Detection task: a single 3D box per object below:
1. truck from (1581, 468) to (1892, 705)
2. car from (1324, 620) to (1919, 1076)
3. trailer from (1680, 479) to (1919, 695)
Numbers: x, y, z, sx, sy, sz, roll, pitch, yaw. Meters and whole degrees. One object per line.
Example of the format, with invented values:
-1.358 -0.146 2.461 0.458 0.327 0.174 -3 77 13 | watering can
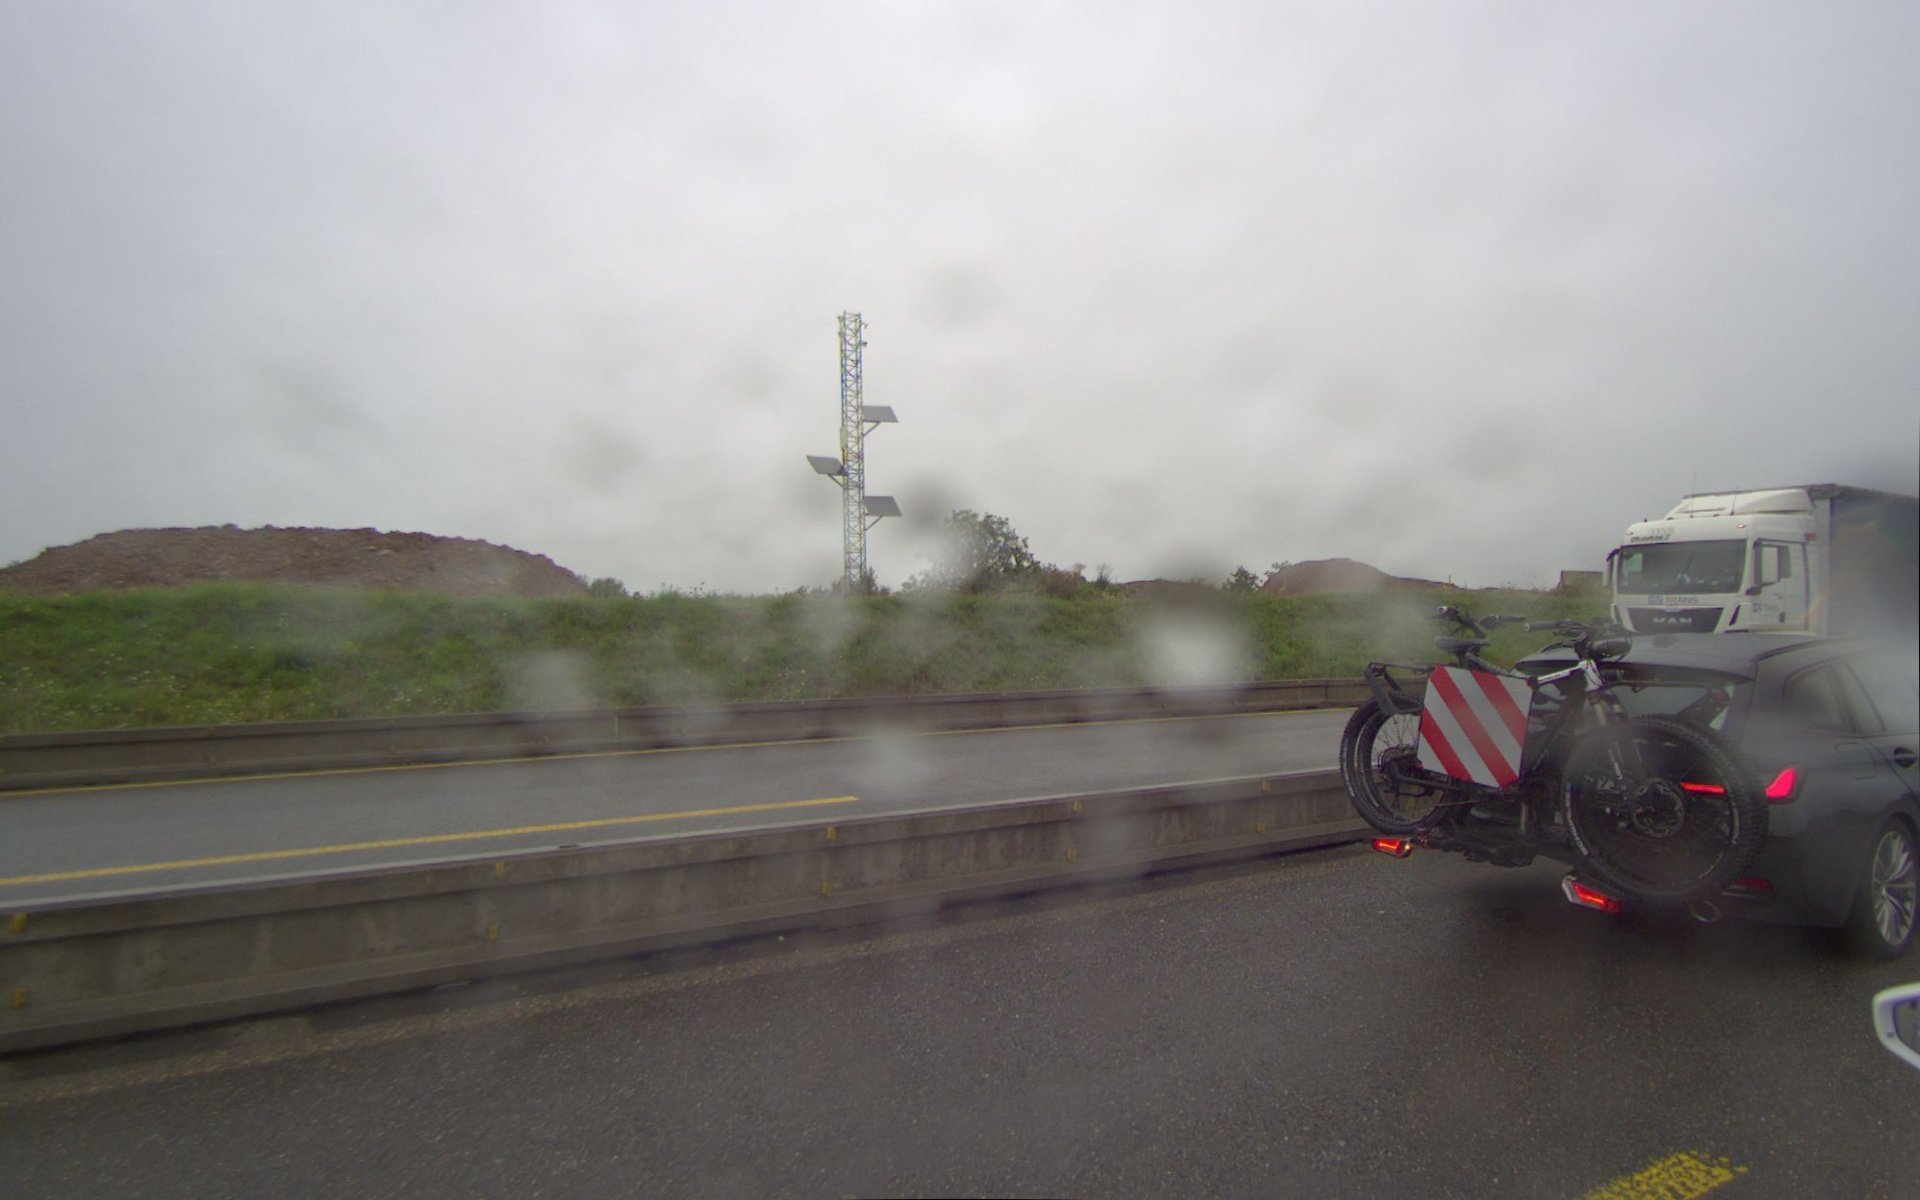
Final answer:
15.403 -0.233 19.902 5.746 4.089 2.777 0 0 -28 | truck
4.680 0.923 5.702 5.560 1.482 1.727 -1 0 -29 | car
21.982 -0.240 23.453 13.568 4.089 2.768 0 0 -28 | trailer
